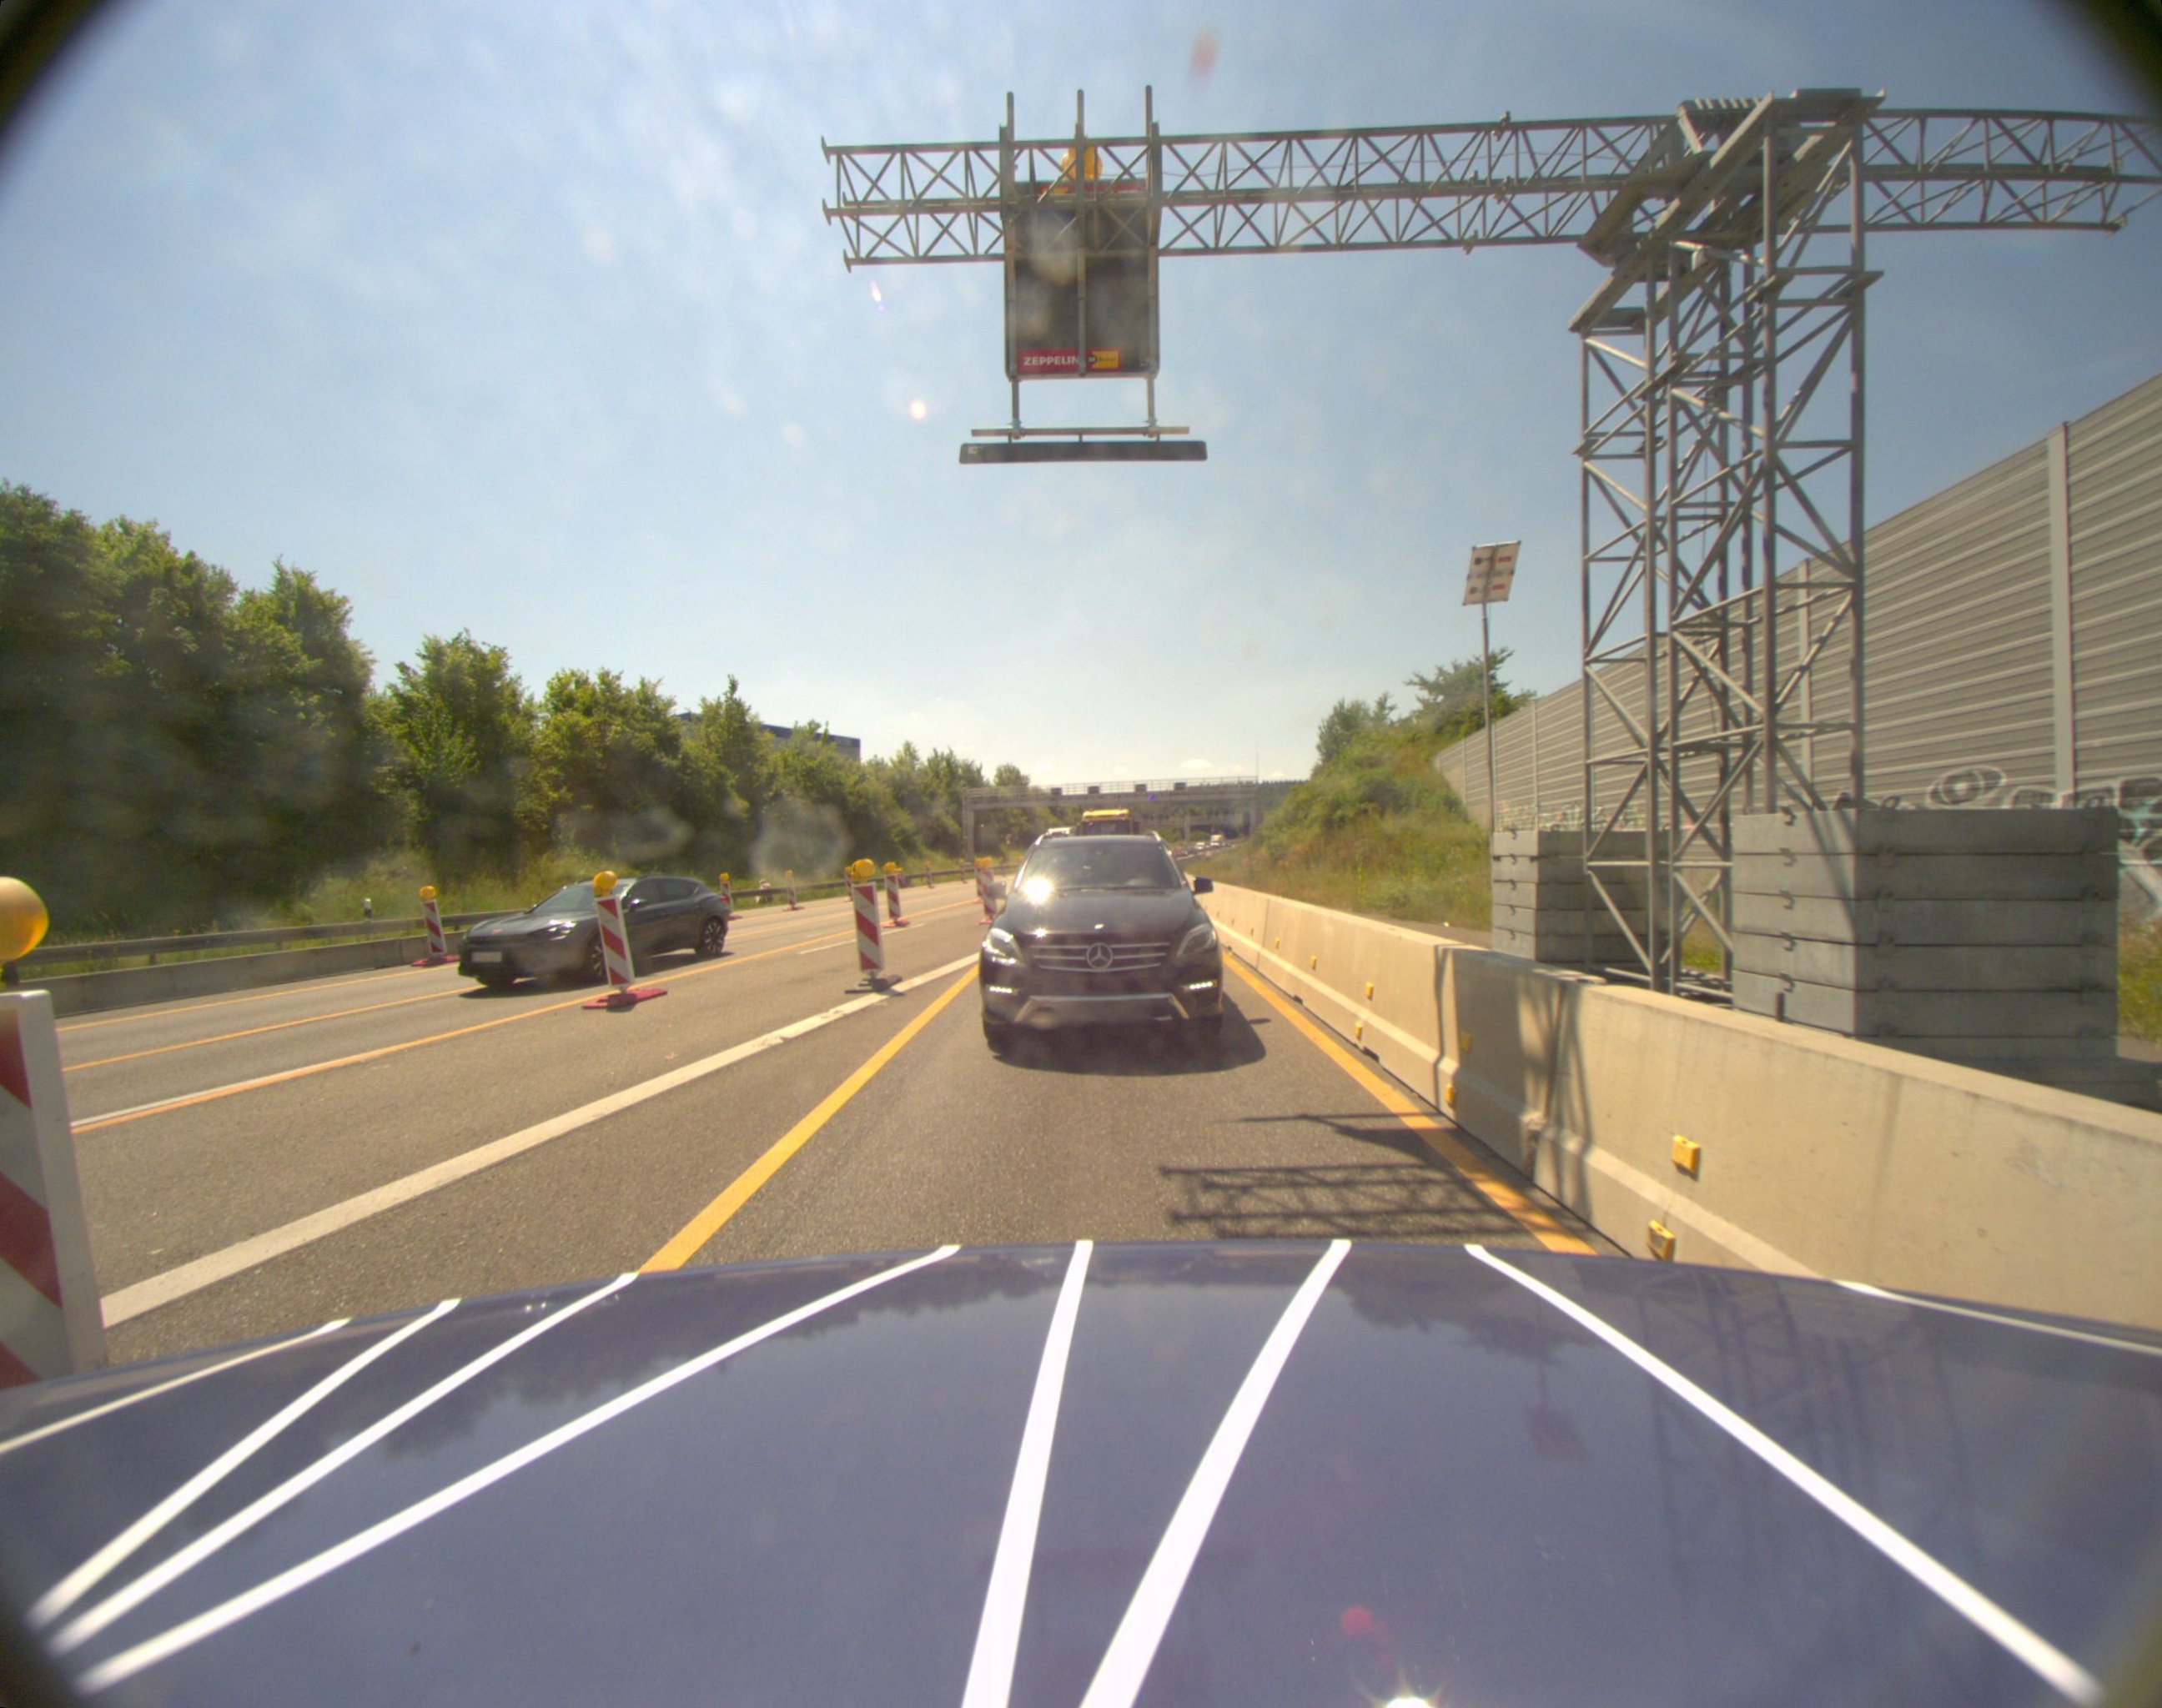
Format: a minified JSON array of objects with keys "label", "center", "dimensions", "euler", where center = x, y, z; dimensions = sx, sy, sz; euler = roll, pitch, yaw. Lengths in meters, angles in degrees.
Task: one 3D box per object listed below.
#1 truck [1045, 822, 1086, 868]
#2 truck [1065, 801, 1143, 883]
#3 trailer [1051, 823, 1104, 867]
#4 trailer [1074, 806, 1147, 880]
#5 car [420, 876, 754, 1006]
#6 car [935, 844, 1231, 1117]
[{"label":"truck","center":[-1.391,-0.835,70.839],"dimensions":[2.531,3.927,5.603],"euler":[-3,0,11]},{"label":"truck","center":[1.334,-0.548,38.655],"dimensions":[3.228,3.639,7.086],"euler":[-3,0,6]},{"label":"trailer","center":[-0.126,-0.884,77.518],"dimensions":[2.545,3.929,13.879],"euler":[-3,0,11]},{"label":"trailer","center":[2.286,-0.574,47.705],"dimensions":[3.235,3.645,17.430],"euler":[-3,0,6]},{"label":"car","center":[-7.545,1.229,12.359],"dimensions":[1.998,1.477,4.679],"euler":[-3,0,6]},{"label":"car","center":[0.289,0.803,7.081],"dimensions":[1.818,1.685,4.495],"euler":[-3,1,8]}]
